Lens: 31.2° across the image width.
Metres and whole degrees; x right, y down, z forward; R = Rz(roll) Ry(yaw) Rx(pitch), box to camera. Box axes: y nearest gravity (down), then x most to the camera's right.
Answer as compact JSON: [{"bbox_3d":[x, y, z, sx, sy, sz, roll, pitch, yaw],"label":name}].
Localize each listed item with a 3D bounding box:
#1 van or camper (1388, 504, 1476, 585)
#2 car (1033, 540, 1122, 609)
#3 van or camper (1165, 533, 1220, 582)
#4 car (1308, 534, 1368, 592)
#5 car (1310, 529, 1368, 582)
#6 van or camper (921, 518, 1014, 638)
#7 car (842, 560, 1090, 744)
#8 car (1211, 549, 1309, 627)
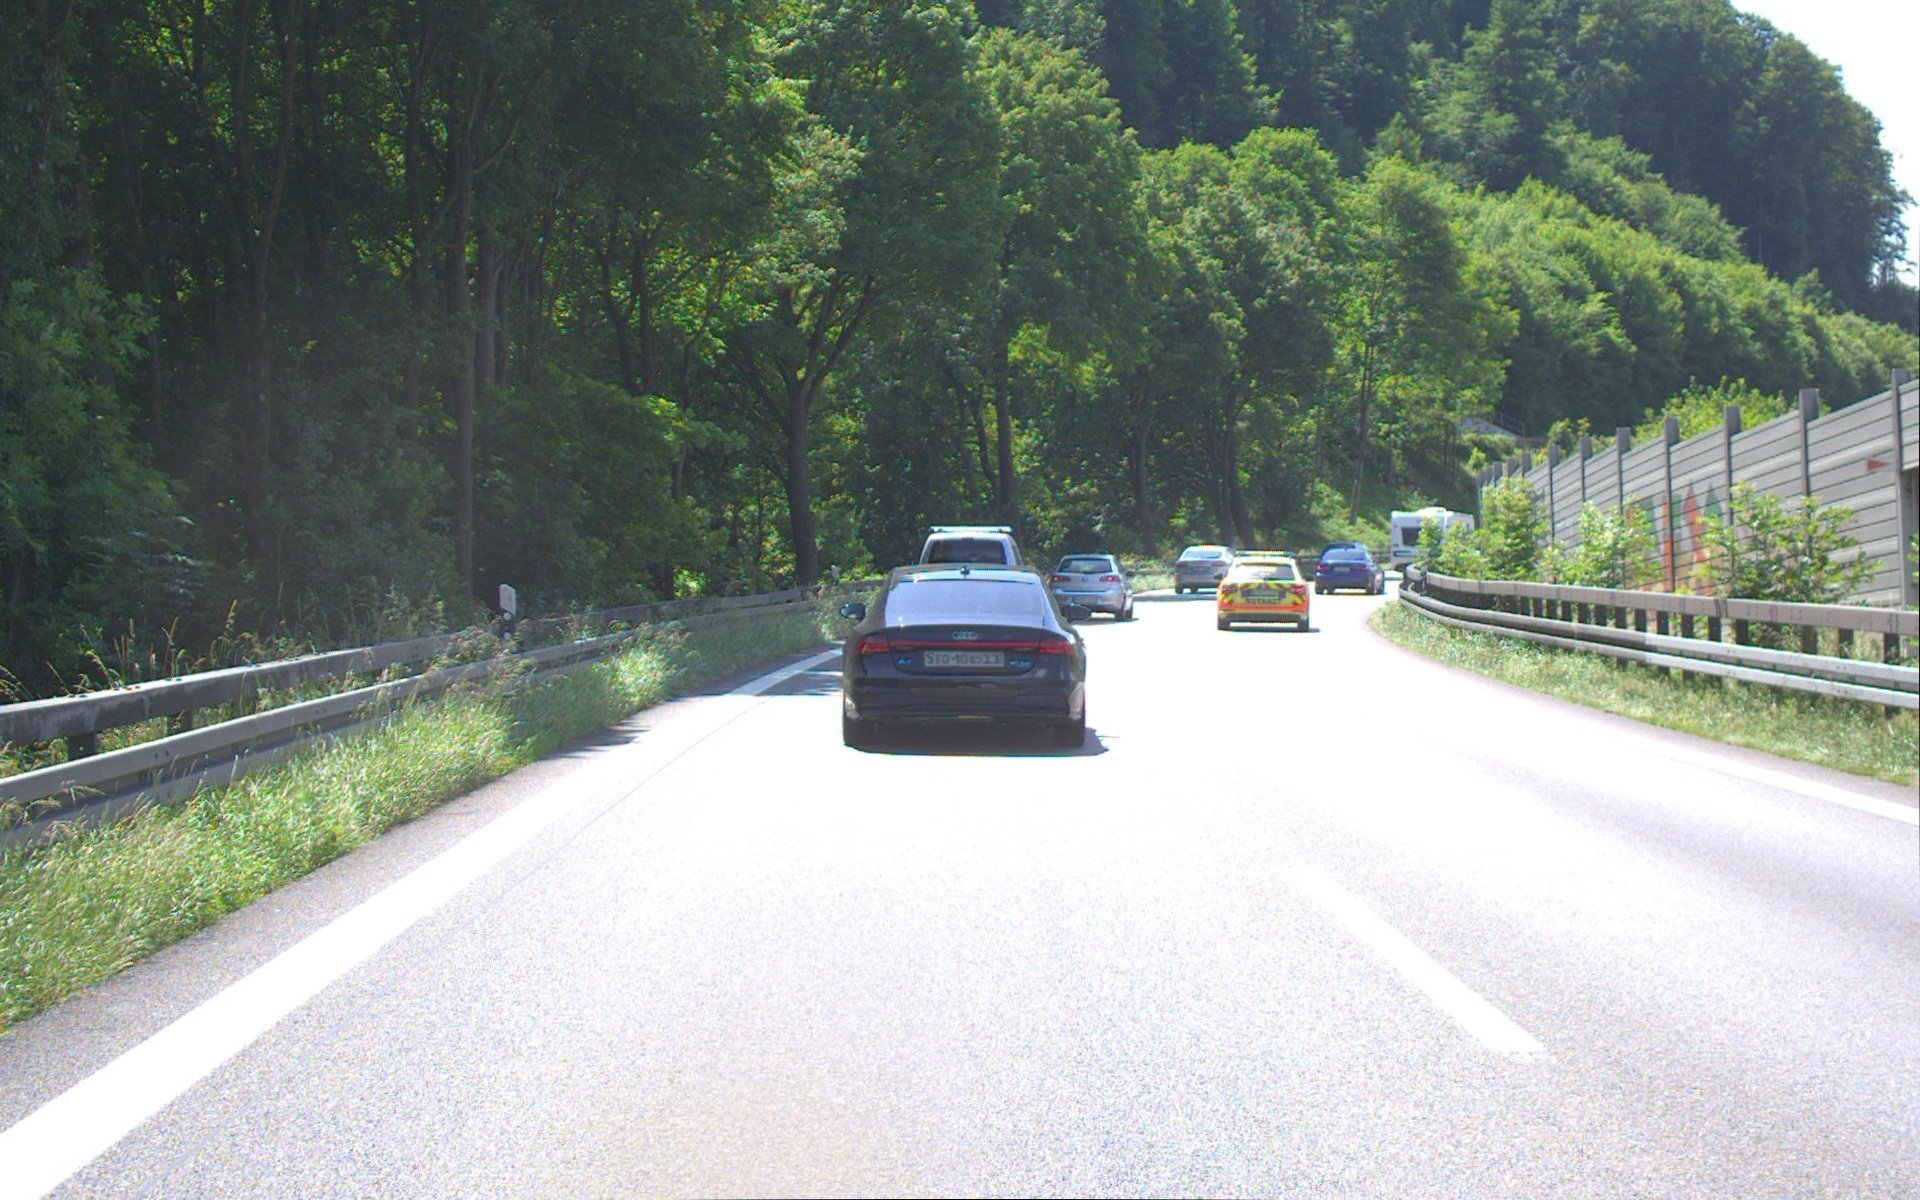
[{"bbox_3d":[17.633,-2.053,128.166,2.457,2.908,6.121,0,0,15],"label":"van or camper"},{"bbox_3d":[2.524,-0.555,74.619,1.747,1.426,4.000,-1,0,0],"label":"car"},{"bbox_3d":[7.332,-1.329,108.109,1.558,1.529,3.504,-1,0,6],"label":"van or camper"},{"bbox_3d":[14.775,-1.455,134.250,1.994,2.007,3.999,-6,0,9],"label":"car"},{"bbox_3d":[11.873,-1.397,107.843,1.774,1.631,3.999,0,0,6],"label":"car"},{"bbox_3d":[0.095,-0.344,54.114,1.391,1.809,4.000,-1,0,-1],"label":"van or camper"},{"bbox_3d":[0.018,0.372,27.560,1.837,1.345,4.000,-1,0,-1],"label":"car"},{"bbox_3d":[5.922,-0.242,68.007,1.863,1.483,3.999,-1,0,5],"label":"car"}]
